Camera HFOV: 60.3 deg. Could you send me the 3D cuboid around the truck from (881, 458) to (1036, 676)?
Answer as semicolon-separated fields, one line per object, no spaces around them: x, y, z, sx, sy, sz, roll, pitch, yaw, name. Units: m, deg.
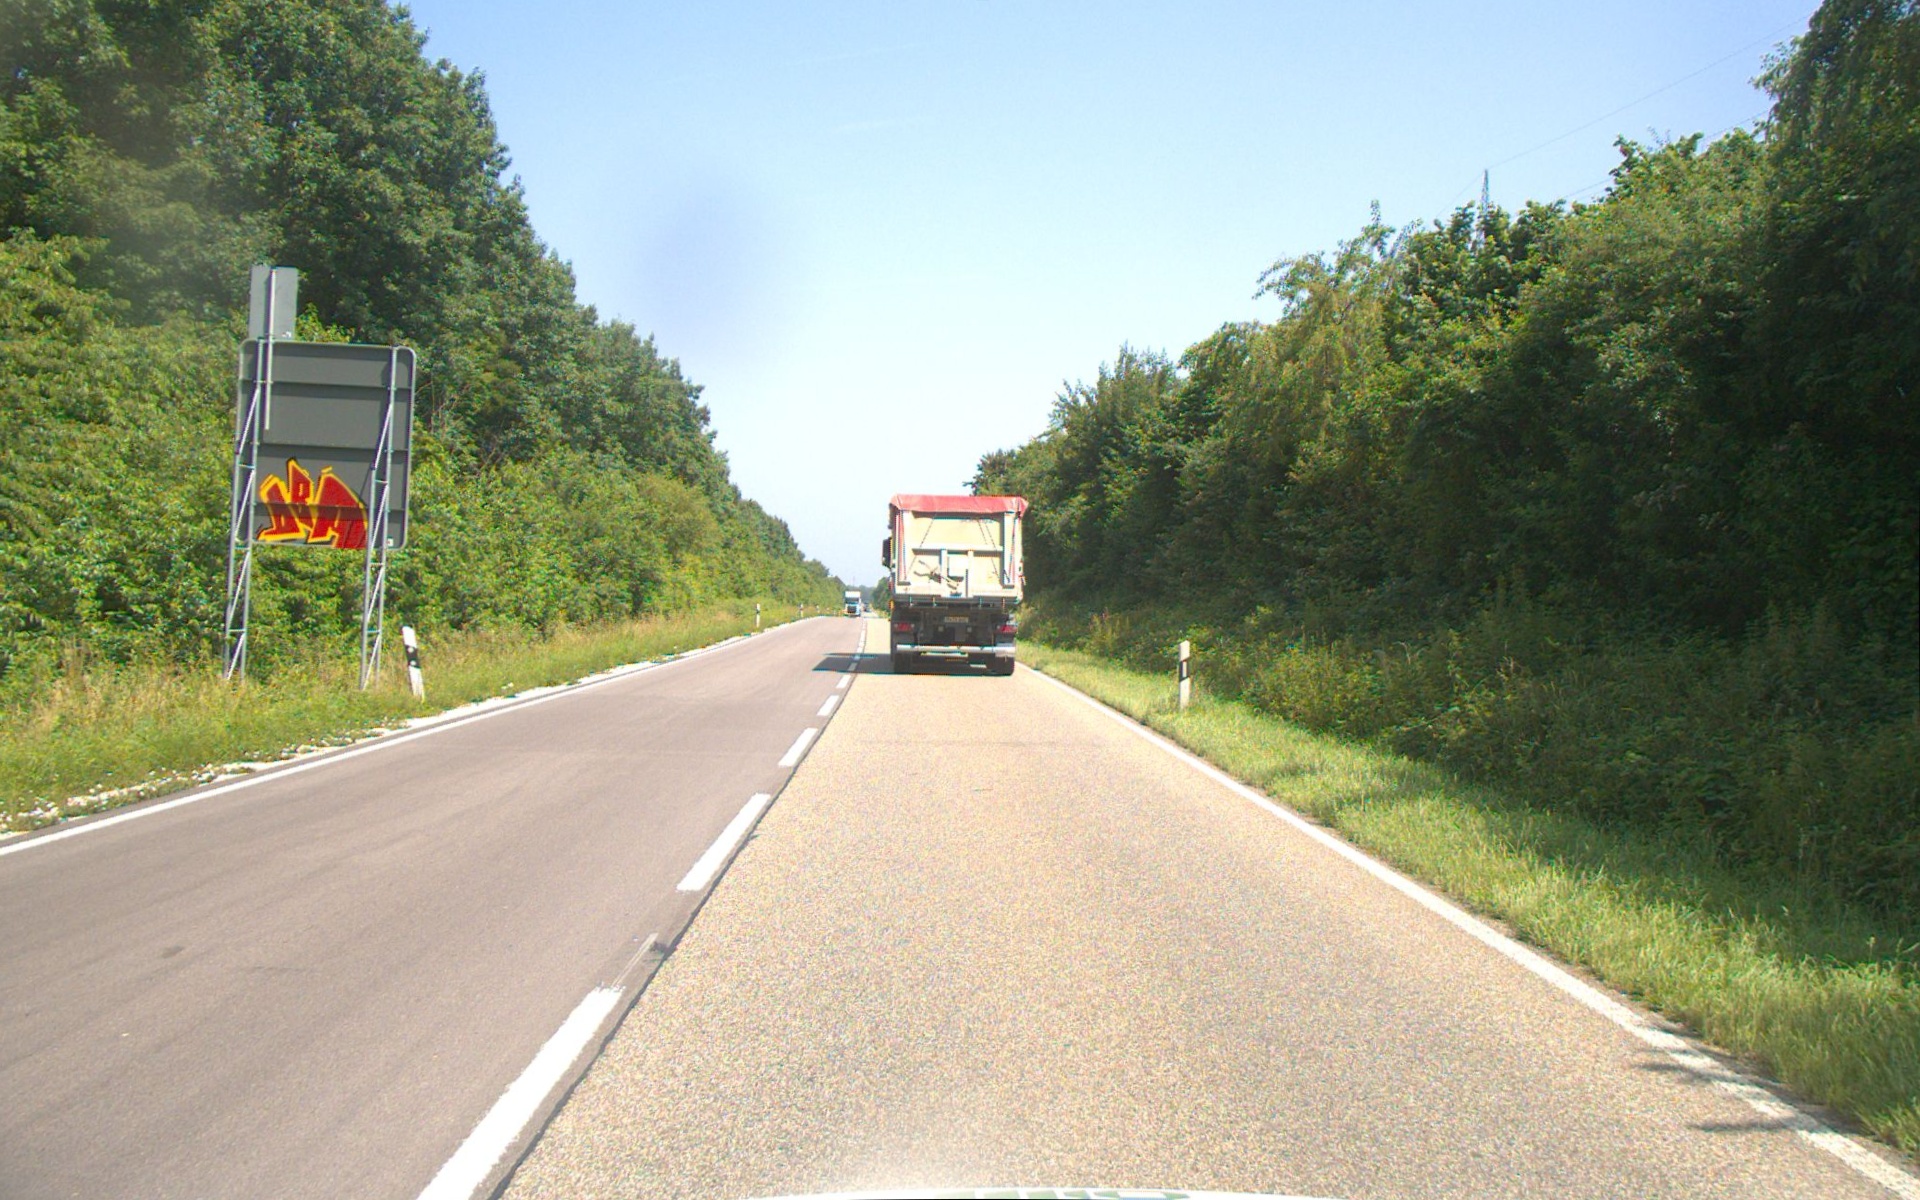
-0.310;-0.628;36.863;2.835;4.032;11.926;1;0;-3;truck
